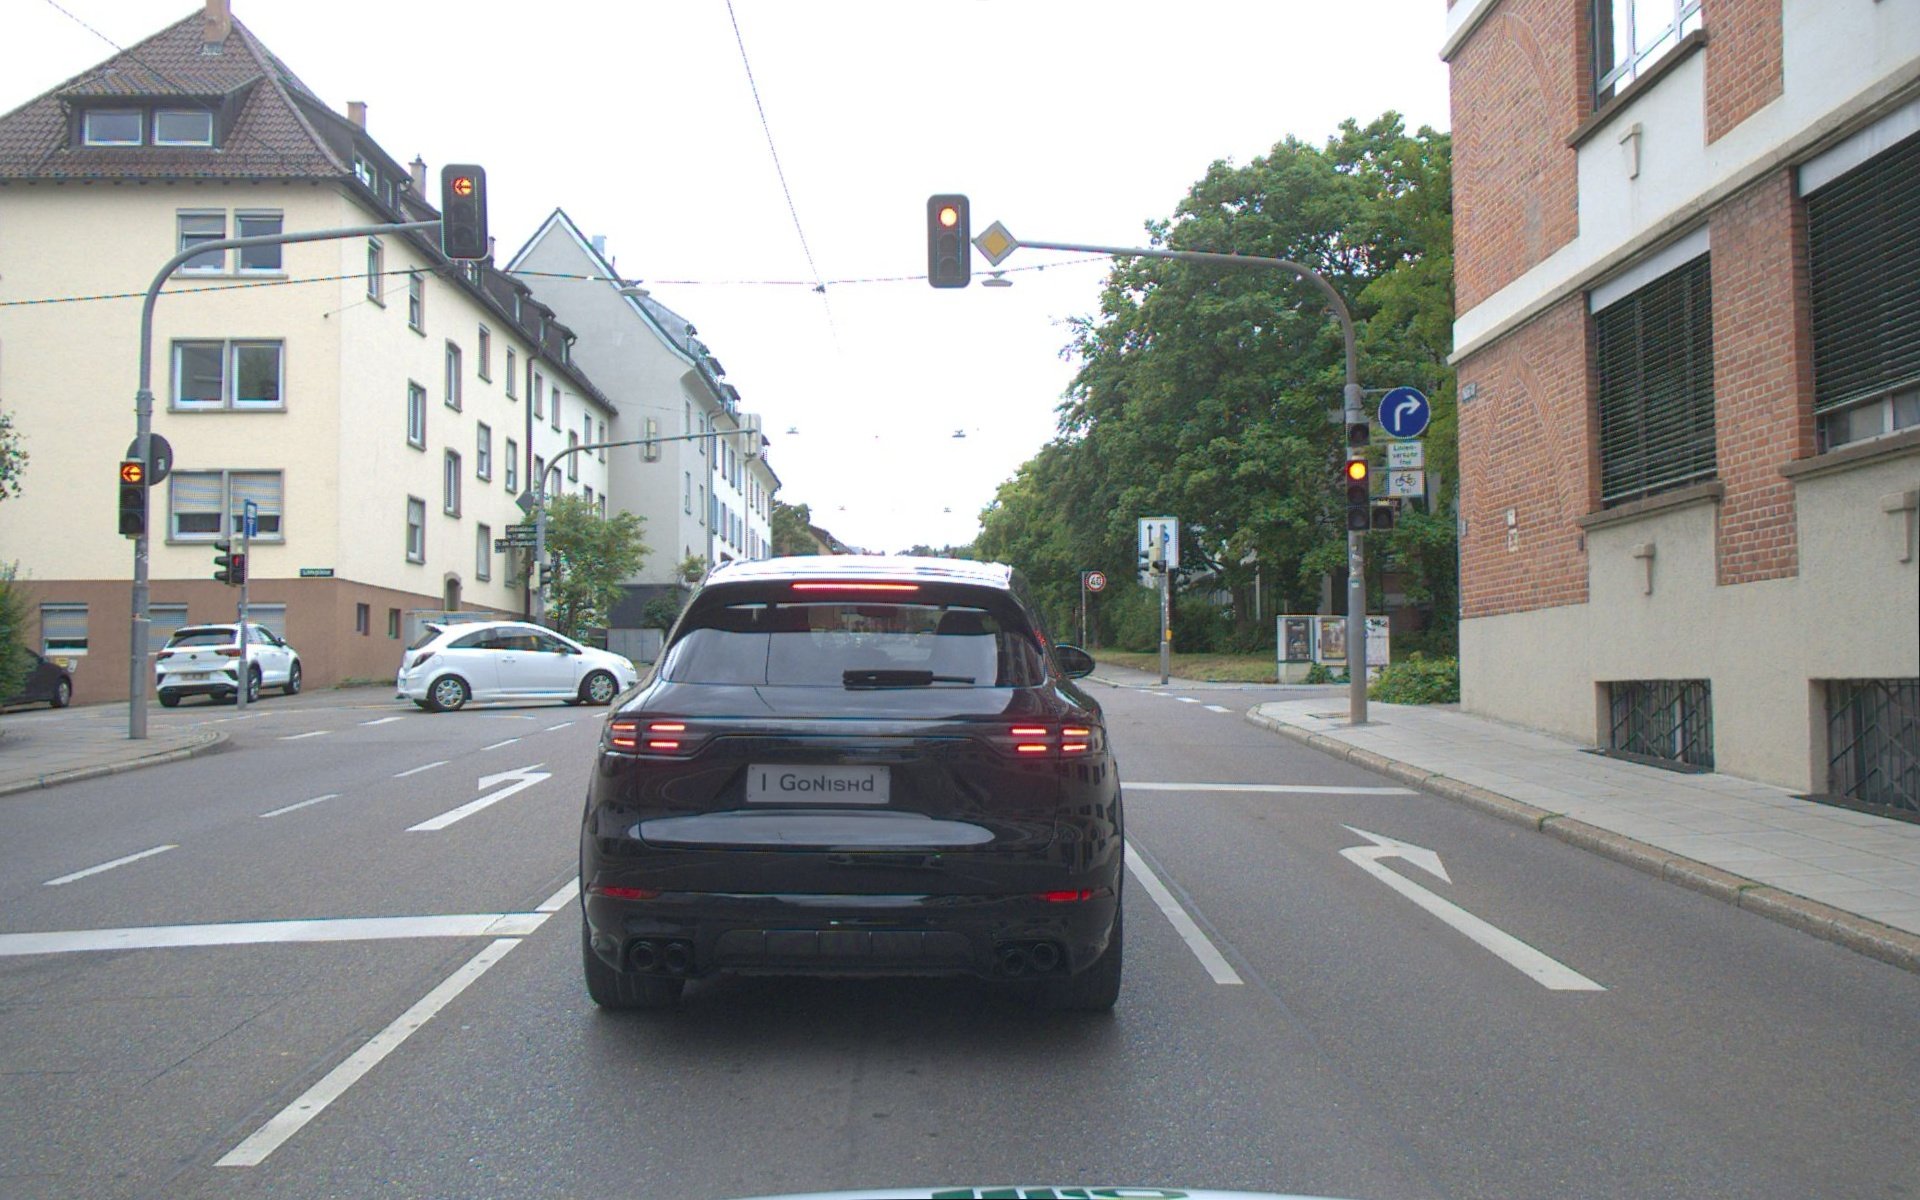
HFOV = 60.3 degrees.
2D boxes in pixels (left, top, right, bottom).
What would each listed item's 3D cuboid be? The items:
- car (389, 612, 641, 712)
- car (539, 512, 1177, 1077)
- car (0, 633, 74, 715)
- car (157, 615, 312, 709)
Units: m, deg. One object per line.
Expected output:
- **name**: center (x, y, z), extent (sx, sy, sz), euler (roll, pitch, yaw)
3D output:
- **car**: center (-7.506, 1.022, 27.944), extent (3.832, 1.579, 1.678), euler (1, 0, -28)
- **car**: center (-0.339, 0.615, 7.138), extent (1.953, 1.726, 3.999), euler (1, 0, -1)
- **car**: center (-19.744, 1.528, 33.242), extent (1.636, 1.573, 4.100), euler (-3, 0, -1)
- **car**: center (-14.703, 1.204, 33.719), extent (1.638, 1.691, 3.995), euler (-3, 0, -5)
